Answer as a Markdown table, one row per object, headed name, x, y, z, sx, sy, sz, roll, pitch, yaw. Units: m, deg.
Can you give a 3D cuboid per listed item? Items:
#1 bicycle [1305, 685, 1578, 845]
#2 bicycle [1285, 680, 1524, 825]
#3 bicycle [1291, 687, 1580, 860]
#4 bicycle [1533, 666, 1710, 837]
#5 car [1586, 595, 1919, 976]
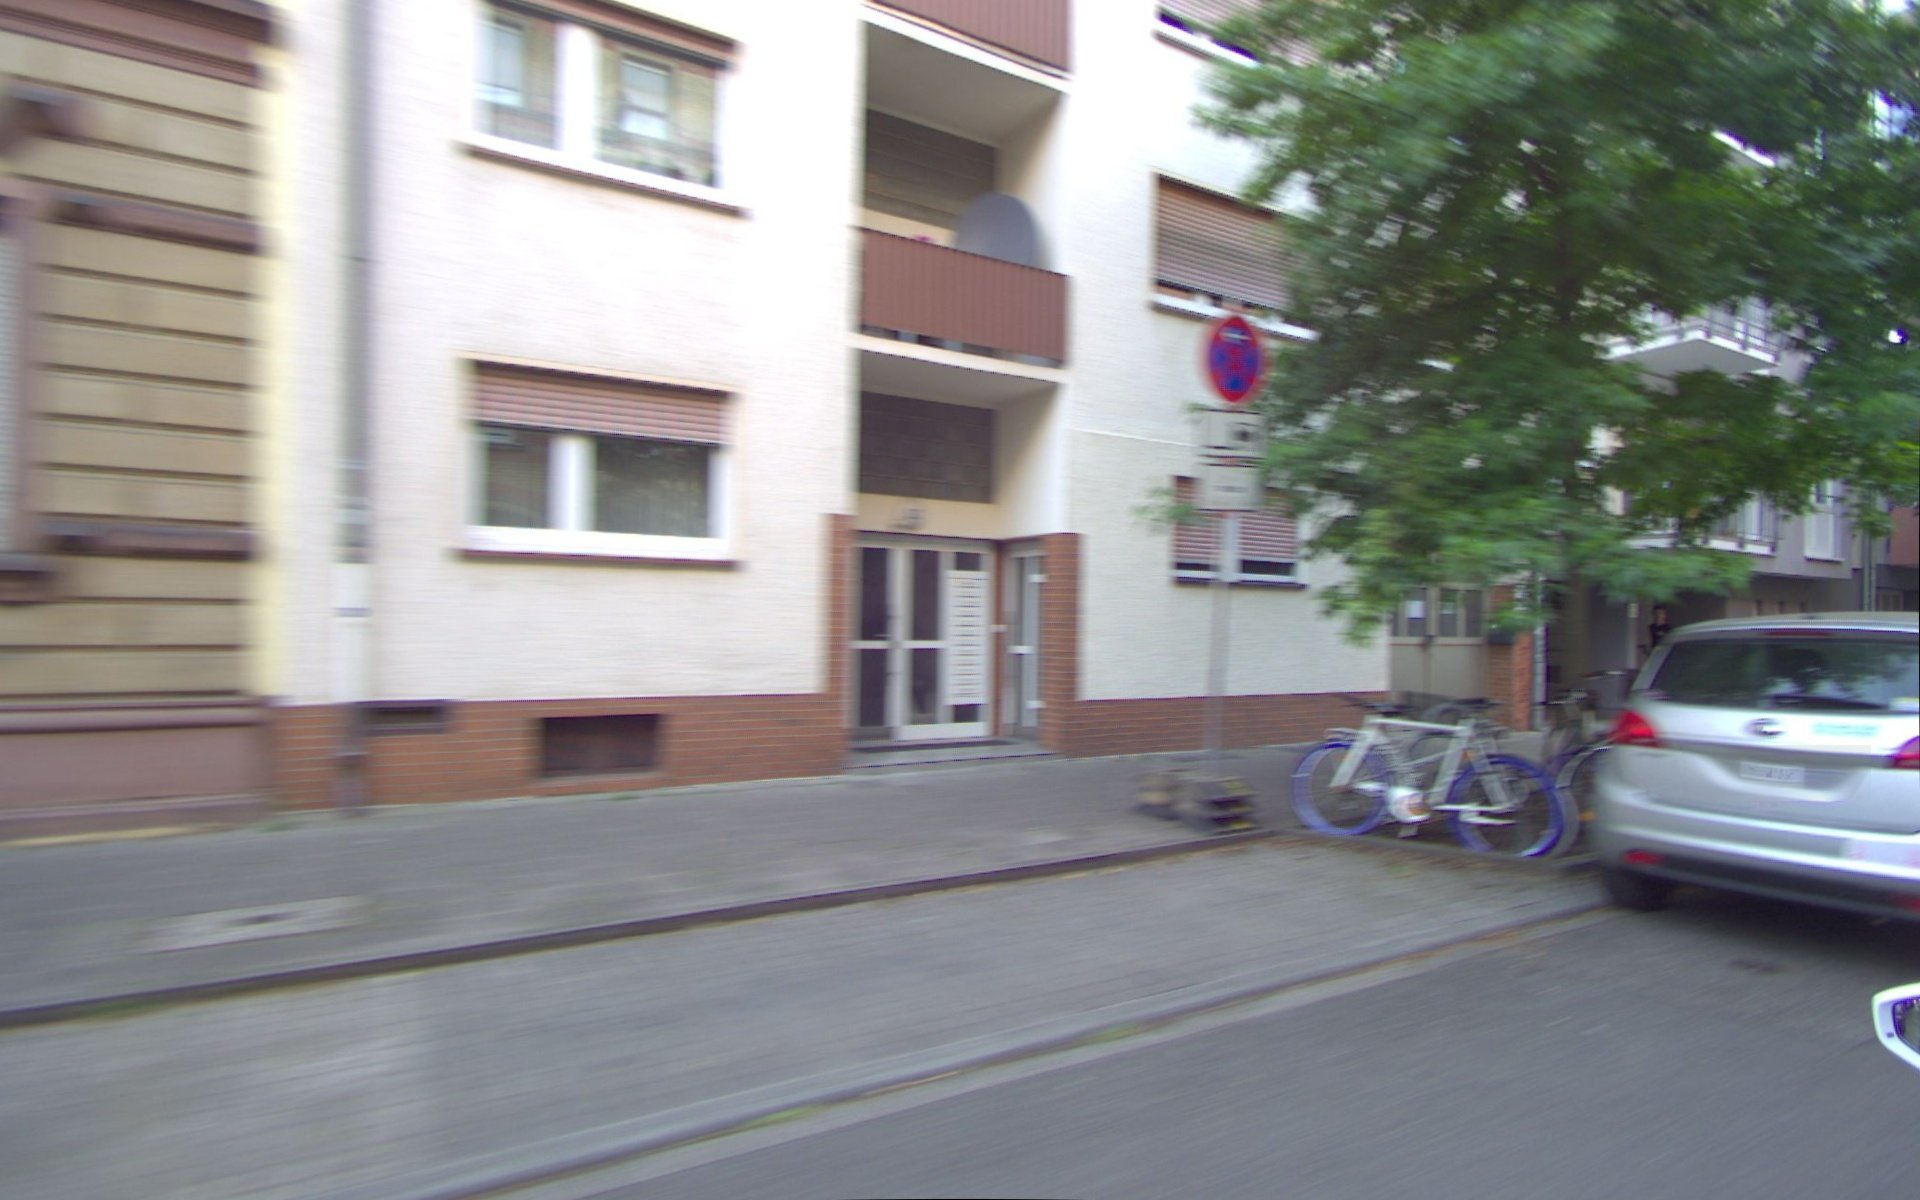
| name | x | y | z | sx | sy | sz | roll | pitch | yaw |
| --- | --- | --- | --- | --- | --- | --- | --- | --- | --- |
| bicycle | 3.334 | 1.108 | 7.046 | 1.674 | 0.910 | 0.383 | 1 | 0 | 31 |
| bicycle | 3.380 | 1.128 | 7.705 | 1.635 | 0.910 | 0.383 | 1 | 0 | 31 |
| bicycle | 3.101 | 1.099 | 6.650 | 1.674 | 0.919 | 0.383 | 1 | 0 | 31 |
| bicycle | 4.889 | 1.063 | 7.392 | 1.646 | 1.118 | 0.417 | 2 | 0 | -32 |
| car | 5.383 | 0.827 | 5.702 | 3.958 | 1.584 | 1.653 | 2 | -2 | -34 |
